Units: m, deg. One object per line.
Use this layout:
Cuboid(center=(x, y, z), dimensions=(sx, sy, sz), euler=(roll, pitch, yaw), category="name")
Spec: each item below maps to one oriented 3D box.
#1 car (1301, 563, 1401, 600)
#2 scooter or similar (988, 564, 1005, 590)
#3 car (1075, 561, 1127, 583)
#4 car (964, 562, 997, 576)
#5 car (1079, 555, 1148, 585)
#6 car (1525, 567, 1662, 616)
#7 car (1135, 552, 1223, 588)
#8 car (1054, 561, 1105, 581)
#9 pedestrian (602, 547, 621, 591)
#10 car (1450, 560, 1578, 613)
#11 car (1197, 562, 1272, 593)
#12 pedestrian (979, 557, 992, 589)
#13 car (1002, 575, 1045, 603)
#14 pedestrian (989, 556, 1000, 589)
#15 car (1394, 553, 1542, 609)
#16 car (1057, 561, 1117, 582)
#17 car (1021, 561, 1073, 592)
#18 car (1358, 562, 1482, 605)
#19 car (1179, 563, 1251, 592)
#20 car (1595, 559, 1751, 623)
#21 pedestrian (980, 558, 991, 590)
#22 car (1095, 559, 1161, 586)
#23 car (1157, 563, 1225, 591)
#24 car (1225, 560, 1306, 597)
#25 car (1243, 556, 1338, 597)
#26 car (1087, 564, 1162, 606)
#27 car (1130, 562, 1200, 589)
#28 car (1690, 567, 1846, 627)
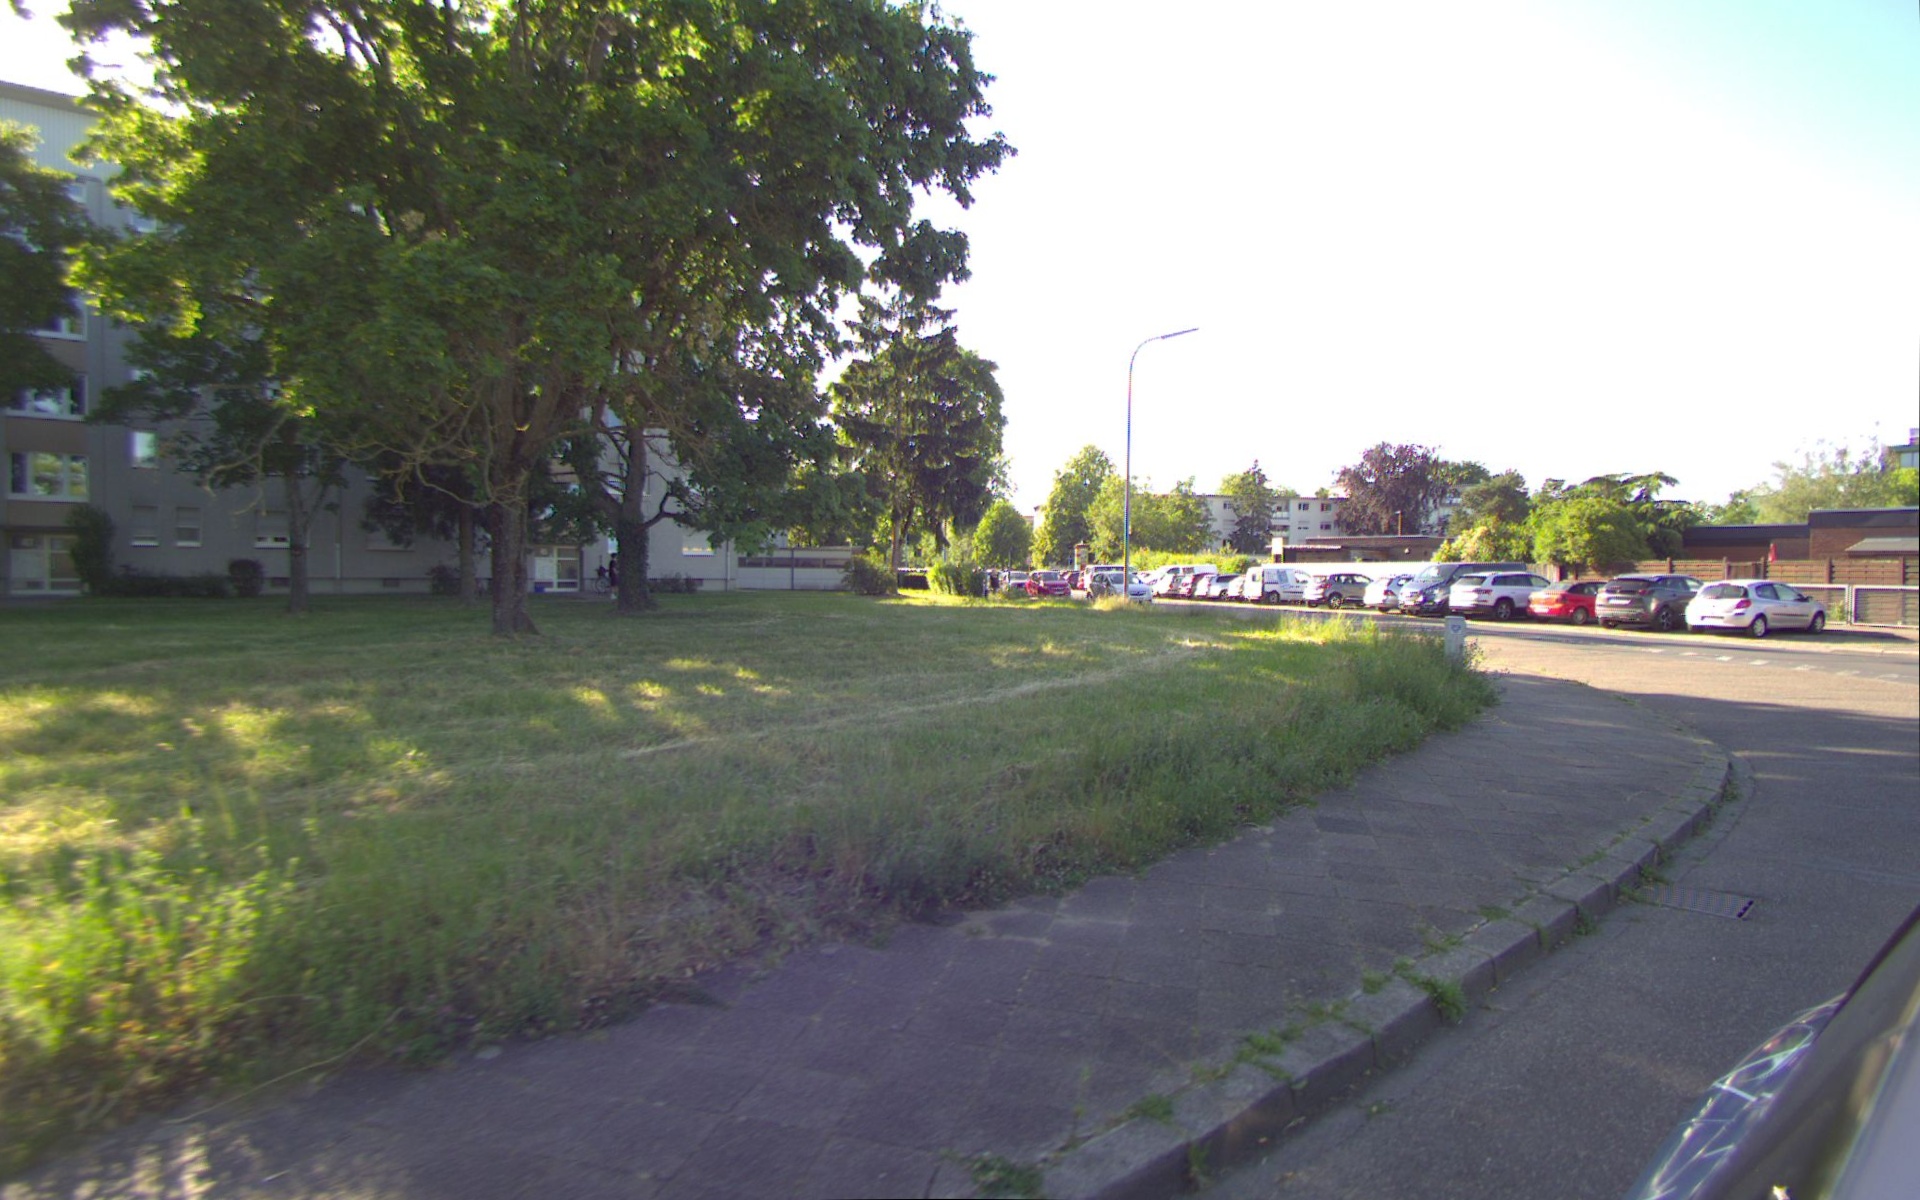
Cuboid(center=(17.077, -0.837, 44.292), dimensions=(3.746, 1.551, 1.794), euler=(-1, 3, -16), category="car")
Cuboid(center=(1.817, -1.160, 50.383), dimensions=(0.612, 1.242, 0.907), euler=(1, 2, -11), category="scooter or similar")
Cuboid(center=(10.885, -2.153, 78.206), dimensions=(3.541, 1.586, 1.884), euler=(-2, 2, -6), category="car")
Cuboid(center=(2.306, -3.471, 112.495), dimensions=(1.557, 1.474, 3.942), euler=(1, 4, 42), category="car")
Cuboid(center=(10.955, -2.157, 72.418), dimensions=(4.402, 2.000, 2.004), euler=(-2, 3, -7), category="car")
Cuboid(center=(20.243, -0.293, 32.383), dimensions=(3.548, 1.360, 1.737), euler=(-2, 3, -13), category="car")
Cuboid(center=(13.189, -1.828, 61.100), dimensions=(4.705, 1.944, 2.086), euler=(-2, 2, -12), category="car")
Cuboid(center=(10.022, -2.430, 85.050), dimensions=(3.919, 1.497, 1.793), euler=(-2, 2, -6), category="car")
Cuboid(center=(-13.426, -1.202, 39.013), dimensions=(0.482, 1.682, 0.536), euler=(-1, 2, 0), category="pedestrian")
Cuboid(center=(18.861, -0.507, 34.500), dimensions=(3.548, 1.626, 1.737), euler=(-2, 3, -13), category="car")
Cuboid(center=(14.503, -1.196, 53.600), dimensions=(3.453, 1.507, 1.640), euler=(-2, 2, -8), category="car")
Cuboid(center=(1.255, -1.345, 50.248), dimensions=(0.477, 1.583, 0.470), euler=(1, 3, -14), category="pedestrian")
Cuboid(center=(3.615, -0.675, 58.271), dimensions=(1.618, 1.420, 3.890), euler=(1, 3, -10), category="car")
Cuboid(center=(1.686, -1.335, 49.278), dimensions=(0.473, 1.583, 0.597), euler=(2, 2, -1), category="pedestrian")
Cuboid(center=(18.640, -0.746, 37.158), dimensions=(4.785, 1.939, 2.005), euler=(-1, 3, -17), category="car")
Cuboid(center=(10.111, -2.303, 80.845), dimensions=(4.467, 1.497, 1.750), euler=(-2, 2, -6), category="car")
Cuboid(center=(4.371, -1.226, 51.222), dimensions=(1.547, 1.464, 3.798), euler=(-1, 3, -13), category="car")
Cuboid(center=(18.032, -0.670, 39.714), dimensions=(4.064, 1.510, 1.930), euler=(-2, 3, -12), category="car")
Cuboid(center=(14.102, -1.242, 56.062), dimensions=(3.452, 1.507, 1.640), euler=(-2, 1, -13), category="car")
Cuboid(center=(20.878, -0.308, 29.655), dimensions=(3.917, 1.631, 1.823), euler=(-3, 3, -20), category="car")
Cuboid(center=(1.249, -1.267, 48.779), dimensions=(0.355, 1.521, 0.502), euler=(1, 3, -13), category="pedestrian")
Cuboid(center=(11.562, -1.912, 69.725), dimensions=(4.083, 1.726, 1.886), euler=(-2, 3, -3), category="car")
Cuboid(center=(13.361, -1.319, 58.485), dimensions=(3.451, 1.464, 1.641), euler=(-2, 3, -15), category="car")
Cuboid(center=(15.348, -1.101, 50.847), dimensions=(3.452, 1.506, 1.733), euler=(-4, 5, -12), category="car")
Cuboid(center=(15.897, -1.147, 48.751), dimensions=(3.907, 1.802, 1.930), euler=(-2, 2, -14), category="car")
Cuboid(center=(6.641, -0.649, 41.189), dimensions=(1.700, 1.561, 3.798), euler=(-1, 3, -13), category="car")
Cuboid(center=(12.990, -1.570, 64.120), dimensions=(3.919, 1.601, 1.887), euler=(-2, 3, -7), category="car")
Cuboid(center=(21.756, -0.110, 27.250), dimensions=(3.621, 1.476, 1.638), euler=(-1, 3, -21), category="car")
